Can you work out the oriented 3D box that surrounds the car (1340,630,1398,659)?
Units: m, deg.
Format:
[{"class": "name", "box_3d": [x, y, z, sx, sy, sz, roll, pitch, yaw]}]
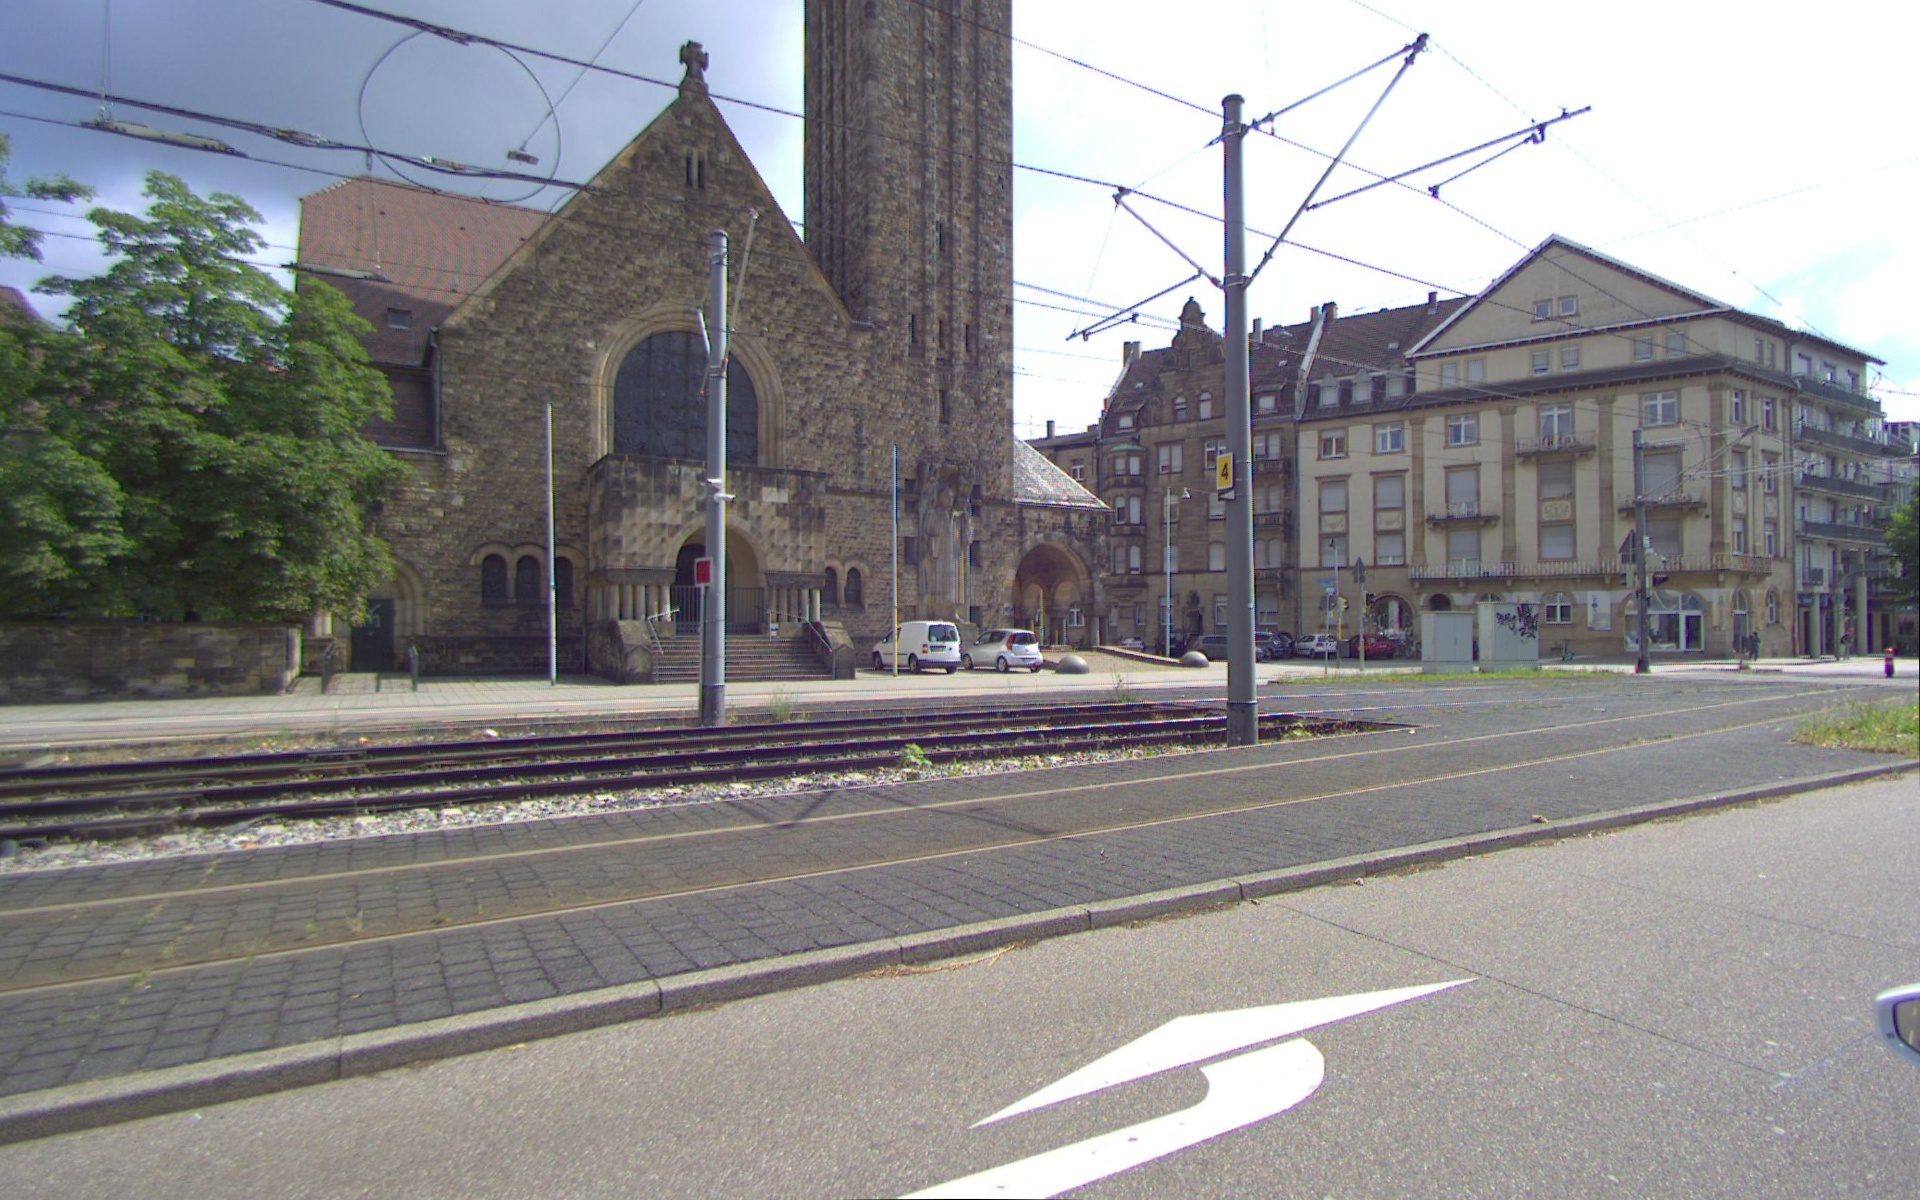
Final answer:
[{"class": "car", "box_3d": [24.391, 2.637, 60.073, 1.960, 1.696, 4.002, 0, -2, 2]}]

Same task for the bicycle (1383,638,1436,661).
[{"class": "bicycle", "box_3d": [26.295, 2.889, 58.849, 0.982, 1.270, 3.312, 0, -2, -13]}]

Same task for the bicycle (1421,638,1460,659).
[{"class": "bicycle", "box_3d": [27.023, 2.725, 56.492, 1.939, 1.129, 0.487, -1, -2, 24]}]

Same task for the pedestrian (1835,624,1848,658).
[{"class": "pedestrian", "box_3d": [52.396, 2.420, 59.689, 0.415, 2.040, 0.474, 1, -2, -35]}]

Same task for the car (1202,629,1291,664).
[{"class": "car", "box_3d": [17.102, 2.762, 59.974, 4.727, 2.040, 1.994, -2, -2, 35]}]

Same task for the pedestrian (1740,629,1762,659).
[{"class": "pedestrian", "box_3d": [42.495, 2.353, 53.961, 0.853, 1.617, 0.687, 1, -2, -34]}]

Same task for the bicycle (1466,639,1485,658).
[{"class": "bicycle", "box_3d": [29.666, 2.780, 57.773, 0.792, 1.067, 2.561, -1, -2, 30]}]

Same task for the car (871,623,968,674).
[{"class": "car", "box_3d": [-1.533, 1.742, 36.741, 1.874, 1.771, 3.848, 1, -2, -33]}]

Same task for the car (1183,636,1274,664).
[{"class": "car", "box_3d": [14.575, 2.686, 54.703, 4.497, 1.455, 1.700, -2, -2, 37]}]

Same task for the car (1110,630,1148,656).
[{"class": "car", "box_3d": [11.586, 2.940, 69.206, 1.960, 1.760, 4.001, 0, -2, 0]}]

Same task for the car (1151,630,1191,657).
[{"class": "car", "box_3d": [14.092, 2.886, 67.356, 1.850, 1.782, 4.001, 0, -2, 0]}]

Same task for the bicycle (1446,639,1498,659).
[{"class": "bicycle", "box_3d": [28.719, 2.744, 56.329, 2.522, 1.067, 0.681, -1, -2, 33]}]

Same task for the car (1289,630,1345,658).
[{"class": "car", "box_3d": [22.017, 2.716, 62.117, 1.768, 1.661, 3.997, 0, -2, -5]}]

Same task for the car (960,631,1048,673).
[{"class": "car", "box_3d": [1.624, 1.923, 37.739, 1.834, 1.522, 3.248, 1, -2, -31]}]

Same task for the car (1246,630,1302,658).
[{"class": "car", "box_3d": [19.722, 2.754, 63.302, 1.962, 1.695, 3.997, 0, -2, -5]}]

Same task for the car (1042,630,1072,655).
[{"class": "car", "box_3d": [6.982, 3.065, 72.344, 1.617, 1.718, 3.859, 0, -2, -2]}]

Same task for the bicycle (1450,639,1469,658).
[{"class": "bicycle", "box_3d": [28.948, 2.779, 58.221, 0.792, 1.067, 2.561, -1, -2, 30]}]

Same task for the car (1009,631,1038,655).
[{"class": "car", "box_3d": [4.652, 3.156, 73.989, 1.686, 1.706, 4.000, 0, -2, -2]}]
